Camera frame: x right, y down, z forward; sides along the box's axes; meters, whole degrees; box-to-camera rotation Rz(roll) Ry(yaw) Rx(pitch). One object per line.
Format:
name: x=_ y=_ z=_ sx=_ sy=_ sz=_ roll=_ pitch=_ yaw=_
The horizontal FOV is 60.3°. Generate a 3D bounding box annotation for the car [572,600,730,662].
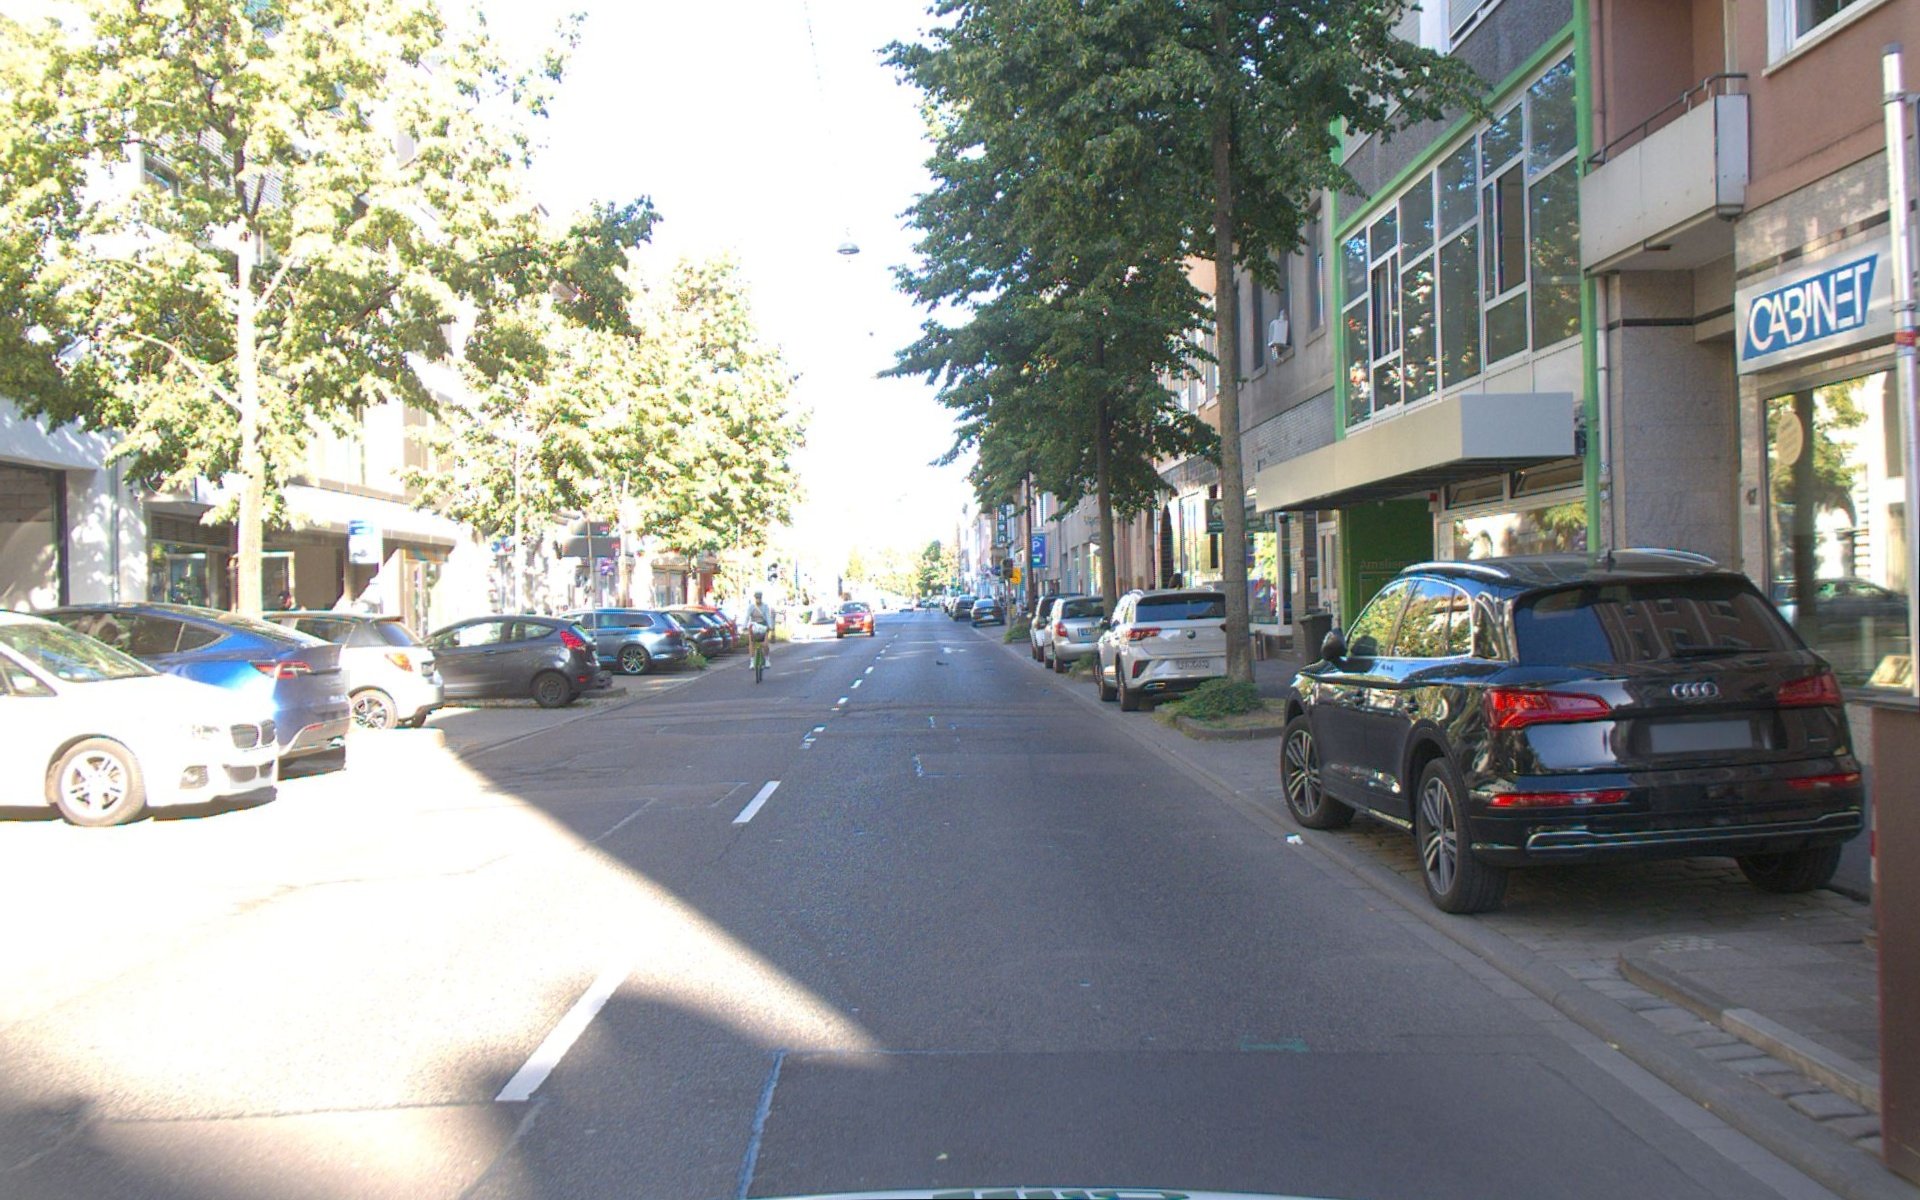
car: x=-8.191 y=0.813 z=44.041 sx=3.839 sy=1.511 sz=1.771 roll=-1 pitch=0 yaw=0

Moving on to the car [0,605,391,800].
car: x=-7.789 y=0.915 z=15.347 sx=4.278 sy=1.597 sz=1.980 roll=-2 pitch=0 yaw=-1

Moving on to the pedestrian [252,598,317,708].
pedestrian: x=-11.519 y=0.898 z=28.213 sx=0.684 sy=1.828 sz=0.746 roll=-2 pitch=0 yaw=10

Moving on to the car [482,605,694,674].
car: x=-8.359 y=0.868 z=37.459 sx=4.403 sy=1.484 sz=1.789 roll=0 pitch=0 yaw=-3

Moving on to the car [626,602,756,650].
car: x=-9.147 y=0.876 z=56.500 sx=4.116 sy=1.494 sz=1.740 roll=-1 pitch=0 yaw=1

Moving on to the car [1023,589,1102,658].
car: x=2.514 y=0.560 z=41.128 sx=1.581 sy=1.555 sz=3.059 roll=-4 pitch=0 yaw=-2

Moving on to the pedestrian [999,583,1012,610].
pedestrian: x=2.912 y=-0.219 z=105.897 sx=0.784 sy=1.704 sz=0.589 roll=-4 pitch=0 yaw=1

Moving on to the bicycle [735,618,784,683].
bicycle: x=-3.996 y=0.995 z=33.132 sx=0.710 sy=1.189 sz=2.197 roll=-2 pitch=0 yaw=-1

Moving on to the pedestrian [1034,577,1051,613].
pedestrian: x=3.778 y=-0.210 z=75.564 sx=0.569 sy=1.586 sz=1.020 roll=-5 pitch=0 yaw=-2

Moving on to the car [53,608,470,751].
car: x=-8.270 y=0.908 z=19.937 sx=4.162 sy=1.484 sz=1.978 roll=-2 pitch=0 yaw=-5

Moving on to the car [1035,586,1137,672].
car: x=2.616 y=0.570 z=35.152 sx=1.582 sy=1.555 sz=4.233 roll=-5 pitch=0 yaw=-2

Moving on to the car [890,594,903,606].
car: x=-10.054 y=0.064 z=261.384 sx=1.953 sy=1.802 sz=4.000 roll=-1 pitch=1 yaw=0

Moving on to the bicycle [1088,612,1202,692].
bicycle: x=2.879 y=0.803 z=25.828 sx=1.591 sy=1.030 sz=0.611 roll=-7 pitch=0 yaw=-3

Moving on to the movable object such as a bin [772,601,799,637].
movable object such as a bin: x=-7.520 y=0.805 z=71.279 sx=1.021 sy=1.497 sz=1.143 roll=-2 pitch=0 yaw=-2

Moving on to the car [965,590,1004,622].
car: x=1.304 y=0.316 z=90.819 sx=1.879 sy=1.504 sz=4.963 roll=-6 pitch=0 yaw=-1

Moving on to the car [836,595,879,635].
car: x=-4.495 y=0.637 z=72.599 sx=1.625 sy=1.561 sz=3.759 roll=-4 pitch=0 yaw=-1

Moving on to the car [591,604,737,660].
car: x=-8.314 y=0.893 z=46.680 sx=3.762 sy=1.454 sz=1.789 roll=-1 pitch=0 yaw=0

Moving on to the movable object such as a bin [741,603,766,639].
movable object such as a bin: x=-8.911 y=0.915 z=71.385 sx=0.944 sy=1.497 sz=1.143 roll=-2 pitch=0 yaw=-2

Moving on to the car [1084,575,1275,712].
car: x=2.896 y=0.529 z=22.713 sx=1.845 sy=1.553 sz=4.232 roll=-4 pitch=0 yaw=-2

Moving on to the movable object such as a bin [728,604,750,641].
movable object such as a bin: x=-8.579 y=0.871 z=64.245 sx=0.739 sy=1.364 sz=0.805 roll=-2 pitch=0 yaw=-3

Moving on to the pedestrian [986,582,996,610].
pedestrian: x=2.003 y=-0.240 z=106.083 sx=0.607 sy=1.797 sz=0.518 roll=-2 pitch=0 yaw=1

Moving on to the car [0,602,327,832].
car: x=-7.492 y=0.889 z=12.933 sx=4.278 sy=1.597 sz=1.946 roll=-2 pitch=0 yaw=-1

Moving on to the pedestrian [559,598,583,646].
pedestrian: x=-12.025 y=0.678 z=51.160 sx=0.497 sy=1.433 sz=0.825 roll=-1 pitch=1 yaw=3

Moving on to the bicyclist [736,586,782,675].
bicyclist: x=-4.008 y=0.596 z=33.076 sx=0.710 sy=1.730 sz=1.282 roll=-2 pitch=0 yaw=-1

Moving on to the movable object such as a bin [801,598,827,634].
movable object such as a bin: x=-6.311 y=0.674 z=71.511 sx=1.021 sy=1.497 sz=1.452 roll=-2 pitch=0 yaw=-2

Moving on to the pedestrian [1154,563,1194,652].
pedestrian: x=4.469 y=0.163 z=34.599 sx=0.610 sy=1.795 sz=0.771 roll=-4 pitch=0 yaw=0

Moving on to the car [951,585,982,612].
car: x=0.418 y=-0.118 z=110.421 sx=1.933 sy=1.755 sz=4.823 roll=-1 pitch=0 yaw=-1

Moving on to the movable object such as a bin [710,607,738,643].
movable object such as a bin: x=-10.165 y=1.083 z=71.248 sx=1.021 sy=1.497 sz=1.143 roll=-2 pitch=0 yaw=-2

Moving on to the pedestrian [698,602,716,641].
pedestrian: x=-11.397 y=0.963 z=74.479 sx=0.651 sy=1.688 sz=1.036 roll=-2 pitch=0 yaw=-2

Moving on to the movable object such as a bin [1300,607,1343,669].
movable object such as a bin: x=5.871 y=0.609 z=26.854 sx=0.512 sy=0.973 sz=0.655 roll=-2 pitch=0 yaw=0

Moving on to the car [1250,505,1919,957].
car: x=3.116 y=0.533 z=9.217 sx=1.954 sy=1.718 sz=4.515 roll=-5 pitch=0 yaw=-2

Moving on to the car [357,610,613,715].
car: x=-7.566 y=0.973 z=26.645 sx=3.710 sy=1.484 sz=1.777 roll=-2 pitch=0 yaw=-9

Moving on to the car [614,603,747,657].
car: x=-8.280 y=0.875 z=49.213 sx=3.672 sy=1.494 sz=1.739 roll=-1 pitch=0 yaw=-2
